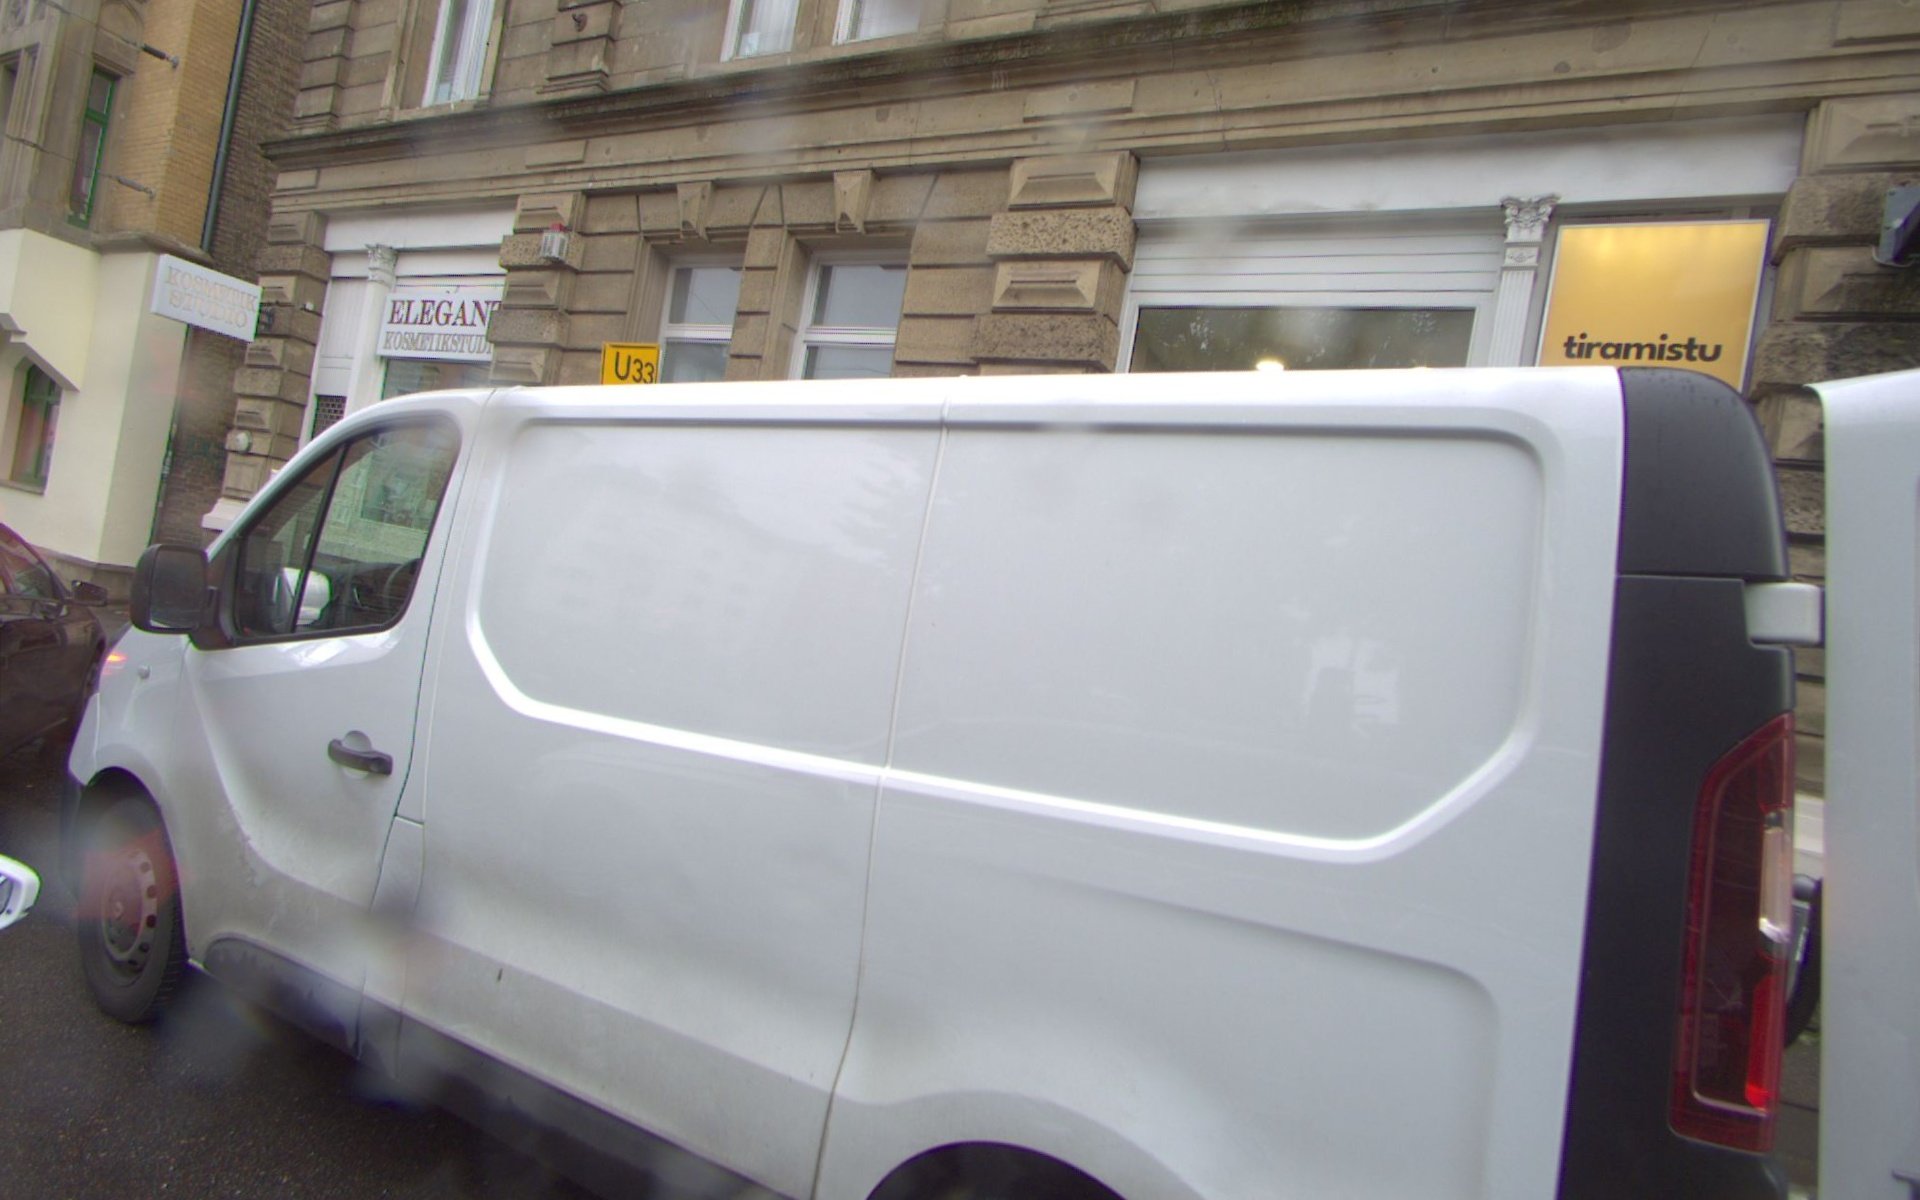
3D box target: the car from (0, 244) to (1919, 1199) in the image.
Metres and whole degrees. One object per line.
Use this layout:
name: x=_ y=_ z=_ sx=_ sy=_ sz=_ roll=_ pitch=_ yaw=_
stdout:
car: x=-0.512 y=0.494 z=2.914 sx=4.606 sy=1.958 sz=1.926 roll=7 pitch=-2 yaw=30

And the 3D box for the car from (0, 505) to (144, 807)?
car: x=-5.635 y=0.116 z=4.924 sx=1.883 sy=1.406 sz=3.968 roll=9 pitch=-2 yaw=-32
